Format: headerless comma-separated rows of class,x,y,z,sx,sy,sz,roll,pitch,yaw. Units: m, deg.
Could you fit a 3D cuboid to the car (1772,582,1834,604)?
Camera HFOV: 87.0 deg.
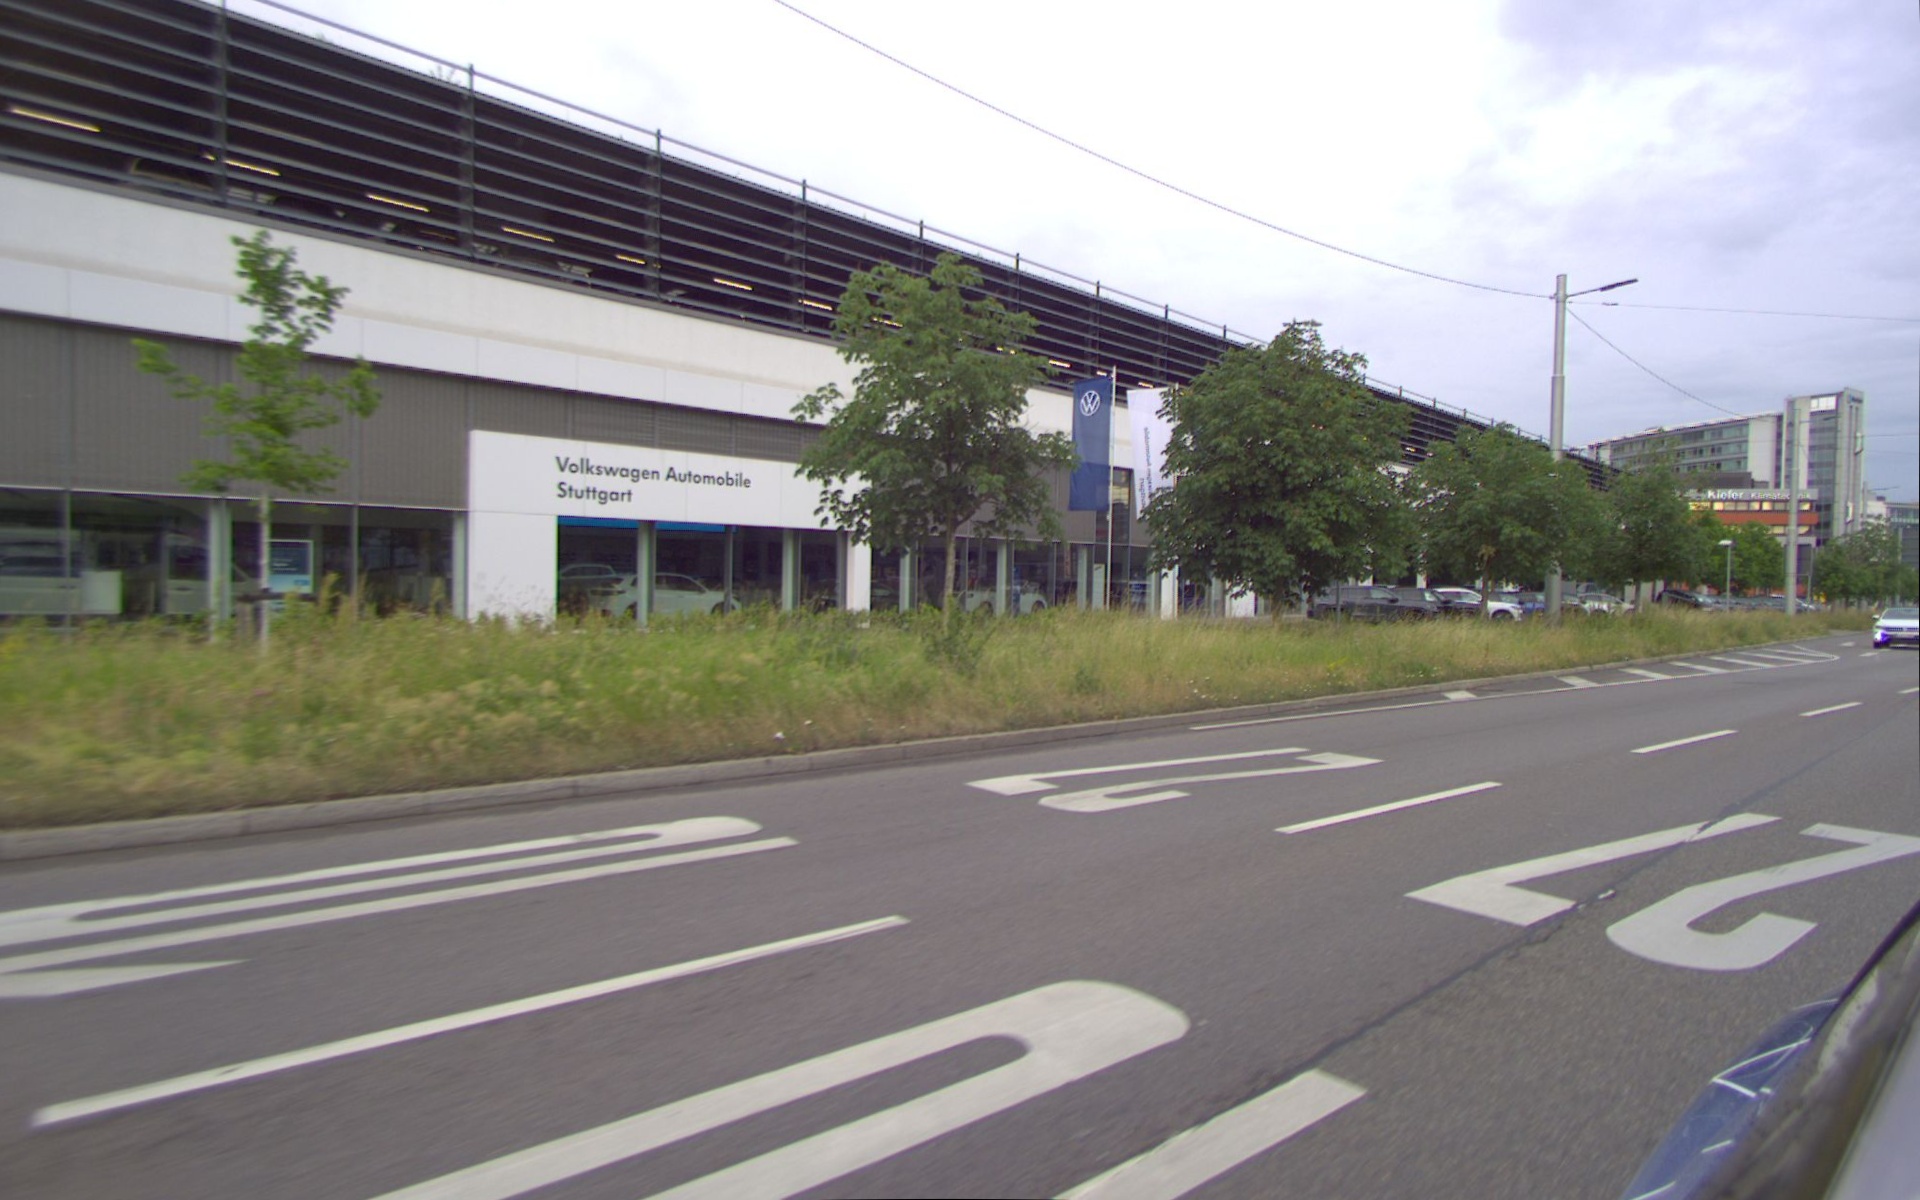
car,86.265,-0.732,103.621,4.461,2.016,1.803,3,2,29

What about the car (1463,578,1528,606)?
car,41.286,-0.660,78.036,1.912,2.000,4.031,0,2,-44

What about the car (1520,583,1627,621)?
car,30.035,0.069,49.684,4.035,1.587,1.795,2,3,11

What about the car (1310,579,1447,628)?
car,15.812,0.084,38.489,4.564,1.587,1.843,3,3,18

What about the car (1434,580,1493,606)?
car,31.043,-0.447,62.348,4.617,1.485,1.781,-1,4,-44

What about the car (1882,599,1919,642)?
car,35.012,0.725,36.784,3.771,1.513,1.876,0,1,-43

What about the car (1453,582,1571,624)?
car,24.268,0.107,44.655,4.126,1.587,1.793,2,3,13

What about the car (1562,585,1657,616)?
car,36.254,0.033,56.591,4.040,1.483,1.741,2,3,14

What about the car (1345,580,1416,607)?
car,26.567,-0.431,63.976,1.611,1.607,3.820,0,2,-44

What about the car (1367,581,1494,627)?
car,18.831,0.127,40.707,4.315,1.587,1.791,3,3,16

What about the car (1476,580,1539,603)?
car,43.115,-0.671,79.737,1.873,1.652,3.991,0,2,-44

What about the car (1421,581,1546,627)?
car,21.930,0.148,42.563,4.296,1.646,1.847,3,3,17

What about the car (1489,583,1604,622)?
car,27.145,0.087,46.959,4.118,1.587,1.797,2,3,7

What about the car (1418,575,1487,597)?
car,34.581,-1.020,71.069,1.735,1.442,3.991,0,2,-43

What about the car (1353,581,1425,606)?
car,28.063,-0.430,66.336,1.754,1.527,3.993,0,-1,-41
